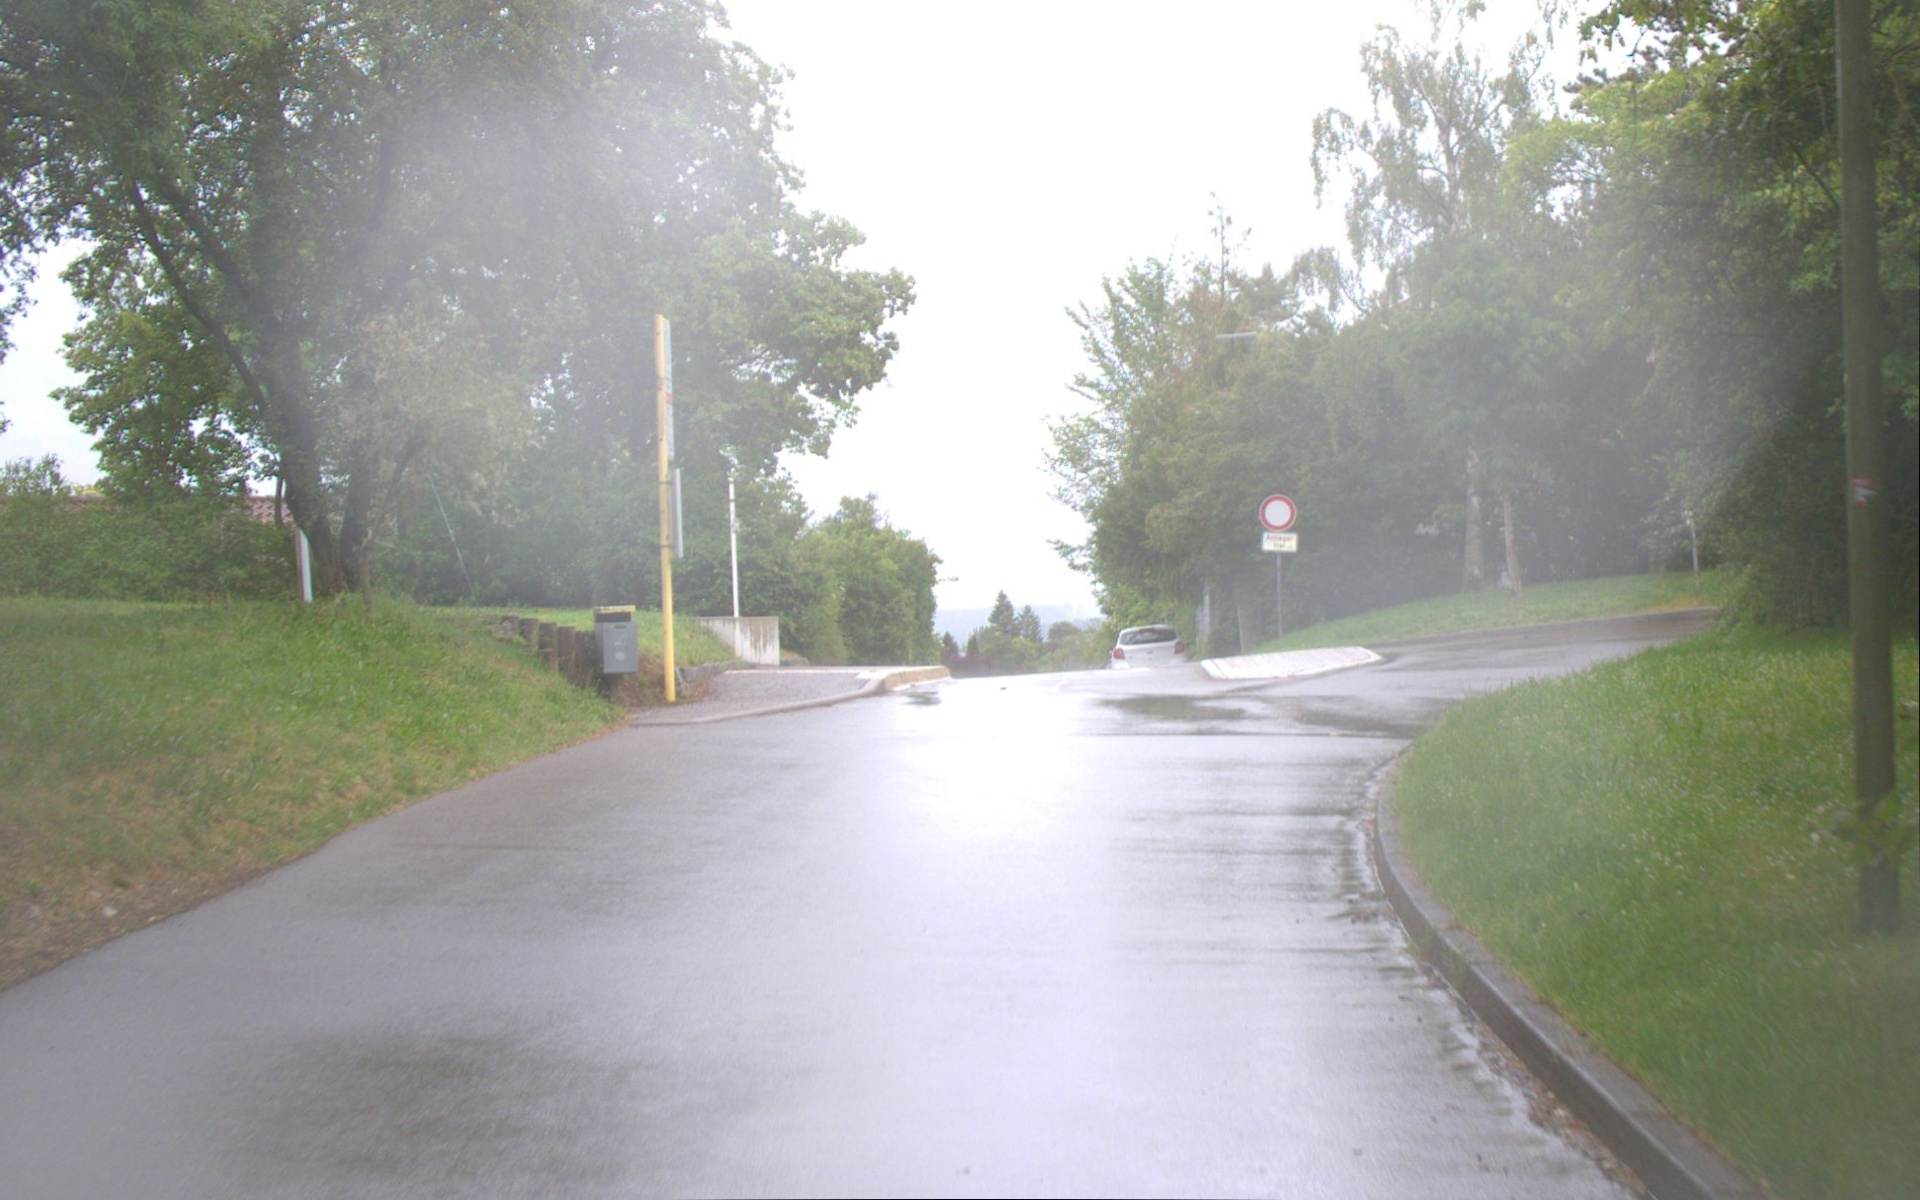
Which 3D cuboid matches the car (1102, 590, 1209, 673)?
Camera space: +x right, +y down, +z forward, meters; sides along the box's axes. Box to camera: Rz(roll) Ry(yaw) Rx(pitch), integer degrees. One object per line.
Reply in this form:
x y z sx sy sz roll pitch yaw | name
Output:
4.282 0.708 74.751 1.994 1.578 3.998 -2 -3 7 | car
